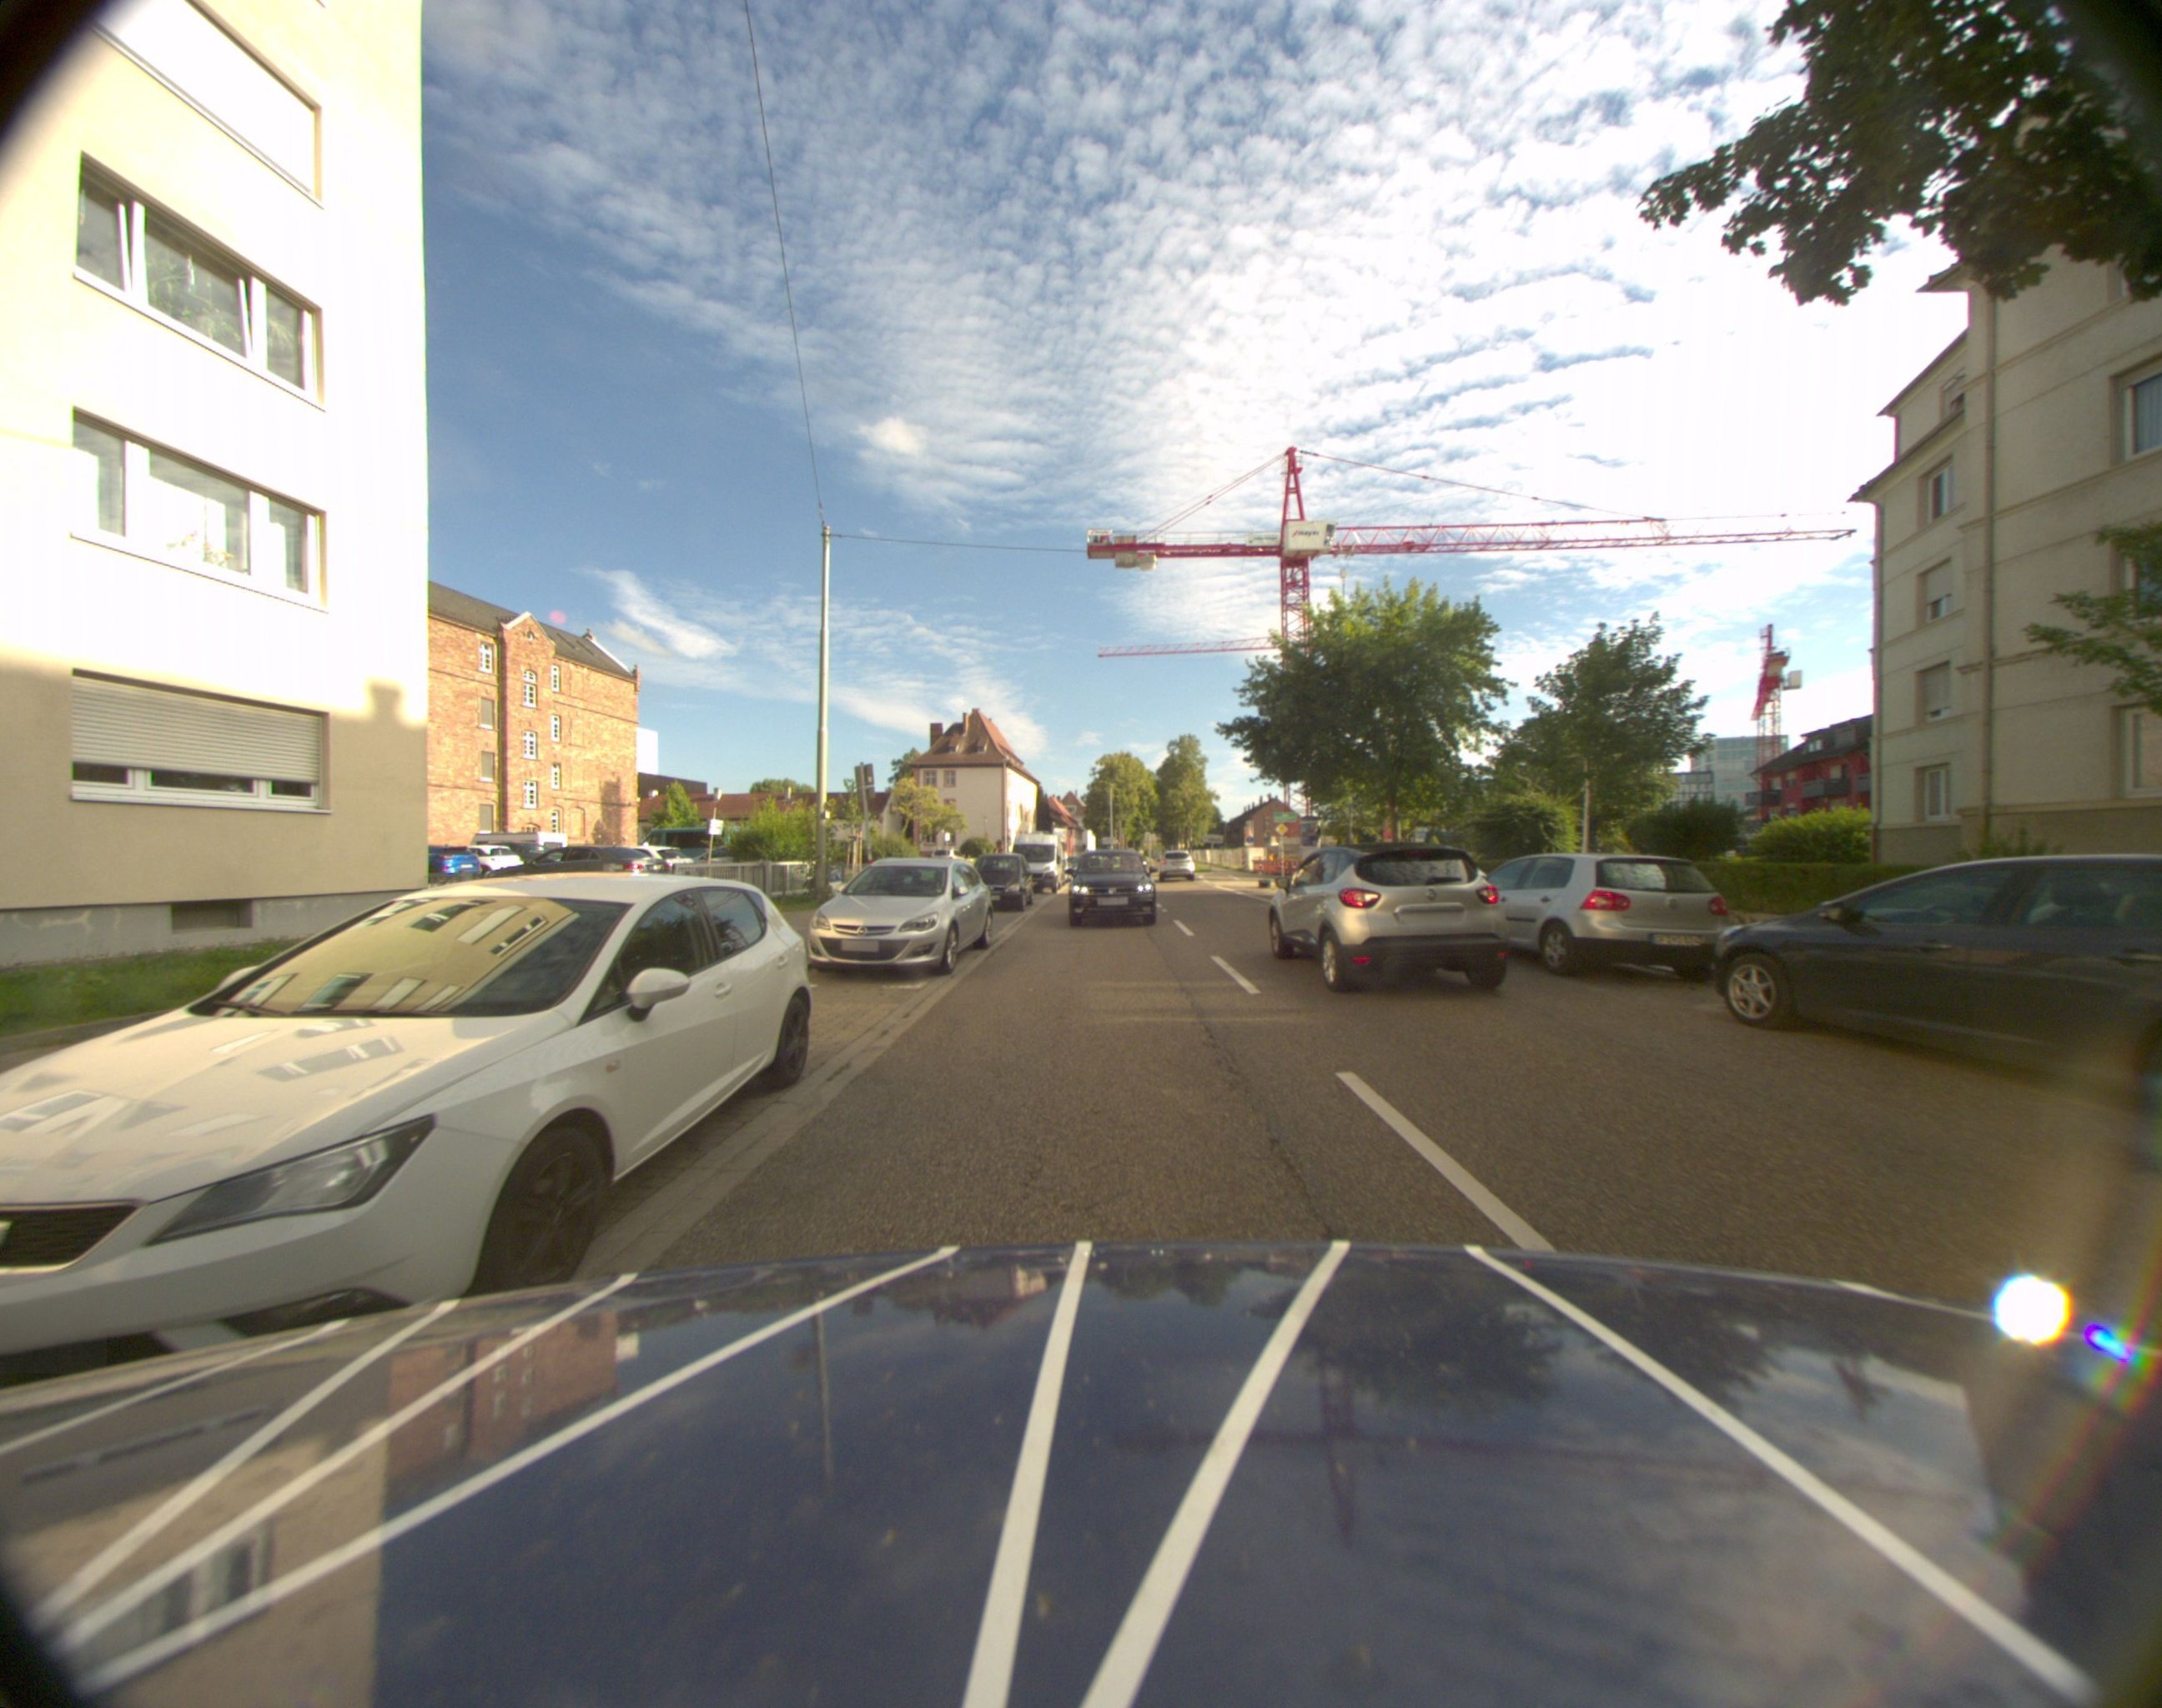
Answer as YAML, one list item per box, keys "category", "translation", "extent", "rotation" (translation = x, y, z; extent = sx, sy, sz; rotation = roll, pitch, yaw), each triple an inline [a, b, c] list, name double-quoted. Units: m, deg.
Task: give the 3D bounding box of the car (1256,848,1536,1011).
- category: "car"
  translation: [3.410, 0.696, 9.126]
  extent: [1.744, 1.493, 4.010]
  rotation: [-1, 0, 1]

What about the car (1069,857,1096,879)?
- category: "car"
  translation: [0.158, 0.978, 53.537]
  extent: [1.662, 1.477, 4.001]
  rotation: [0, 0, 4]

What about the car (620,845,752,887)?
- category: "car"
  translation: [-14.822, 0.446, 28.570]
  extent: [4.084, 1.473, 1.872]
  rotation: [-1, 0, 11]

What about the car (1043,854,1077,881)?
- category: "car"
  translation: [-1.221, 0.781, 45.207]
  extent: [1.662, 1.477, 4.001]
  rotation: [2, 0, 3]

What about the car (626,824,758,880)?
- category: "car"
  translation: [-16.096, -0.080, 31.589]
  extent: [4.275, 2.179, 2.368]
  rotation: [-1, 0, 9]

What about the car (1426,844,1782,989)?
- category: "car"
  translation: [6.479, 0.649, 10.162]
  extent: [1.824, 1.477, 4.369]
  rotation: [1, 0, 2]

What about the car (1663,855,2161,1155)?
- category: "car"
  translation: [6.334, 0.752, 4.777]
  extent: [1.860, 1.477, 4.684]
  rotation: [0, 0, 2]

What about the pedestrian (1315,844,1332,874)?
- category: "pedestrian"
  translation: [14.186, 0.286, 44.511]
  extent: [0.743, 1.758, 0.775]
  rotation: [0, 1, 1]

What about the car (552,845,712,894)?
- category: "car"
  translation: [-14.102, 0.473, 23.972]
  extent: [4.084, 1.473, 1.872]
  rotation: [-1, 0, 11]

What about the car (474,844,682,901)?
- category: "car"
  translation: [-13.893, 0.506, 21.113]
  extent: [4.675, 1.473, 1.871]
  rotation: [-1, 0, 7]

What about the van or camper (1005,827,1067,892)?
- category: "van or camper"
  translation: [-1.838, 0.214, 33.175]
  extent: [2.165, 2.512, 5.914]
  rotation: [2, 0, 1]

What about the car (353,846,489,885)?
- category: "car"
  translation: [-26.253, 0.444, 30.296]
  extent: [4.084, 1.473, 1.872]
  rotation: [-1, 0, 9]

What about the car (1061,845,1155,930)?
- category: "car"
  translation: [0.637, 0.669, 17.285]
  extent: [1.859, 1.673, 4.001]
  rotation: [-1, 0, 3]

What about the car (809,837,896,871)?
- category: "car"
  translation: [-11.606, 0.022, 38.679]
  extent: [3.793, 1.649, 1.872]
  rotation: [-1, 0, 9]

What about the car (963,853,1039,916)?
- category: "car"
  translation: [-2.231, 0.797, 22.129]
  extent: [1.677, 1.593, 3.970]
  rotation: [2, 0, 1]

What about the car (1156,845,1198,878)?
- category: "car"
  translation: [5.181, 0.362, 41.478]
  extent: [1.834, 1.659, 4.084]
  rotation: [-1, 0, 2]

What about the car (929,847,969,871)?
- category: "car"
  translation: [-9.529, 0.349, 55.122]
  extent: [1.888, 1.709, 4.092]
  rotation: [0, 0, 4]

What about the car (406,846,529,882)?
- category: "car"
  translation: [-26.669, 0.441, 33.080]
  extent: [4.084, 1.494, 1.872]
  rotation: [-1, 0, 9]

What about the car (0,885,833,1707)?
- category: "car"
  translation: [-2.657, 0.971, 3.583]
  extent: [1.688, 1.459, 4.205]
  rotation: [0, 0, -2]

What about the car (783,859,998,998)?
- category: "car"
  translation: [-2.461, 0.881, 10.994]
  extent: [1.767, 1.515, 4.330]
  rotation: [1, 1, 4]
